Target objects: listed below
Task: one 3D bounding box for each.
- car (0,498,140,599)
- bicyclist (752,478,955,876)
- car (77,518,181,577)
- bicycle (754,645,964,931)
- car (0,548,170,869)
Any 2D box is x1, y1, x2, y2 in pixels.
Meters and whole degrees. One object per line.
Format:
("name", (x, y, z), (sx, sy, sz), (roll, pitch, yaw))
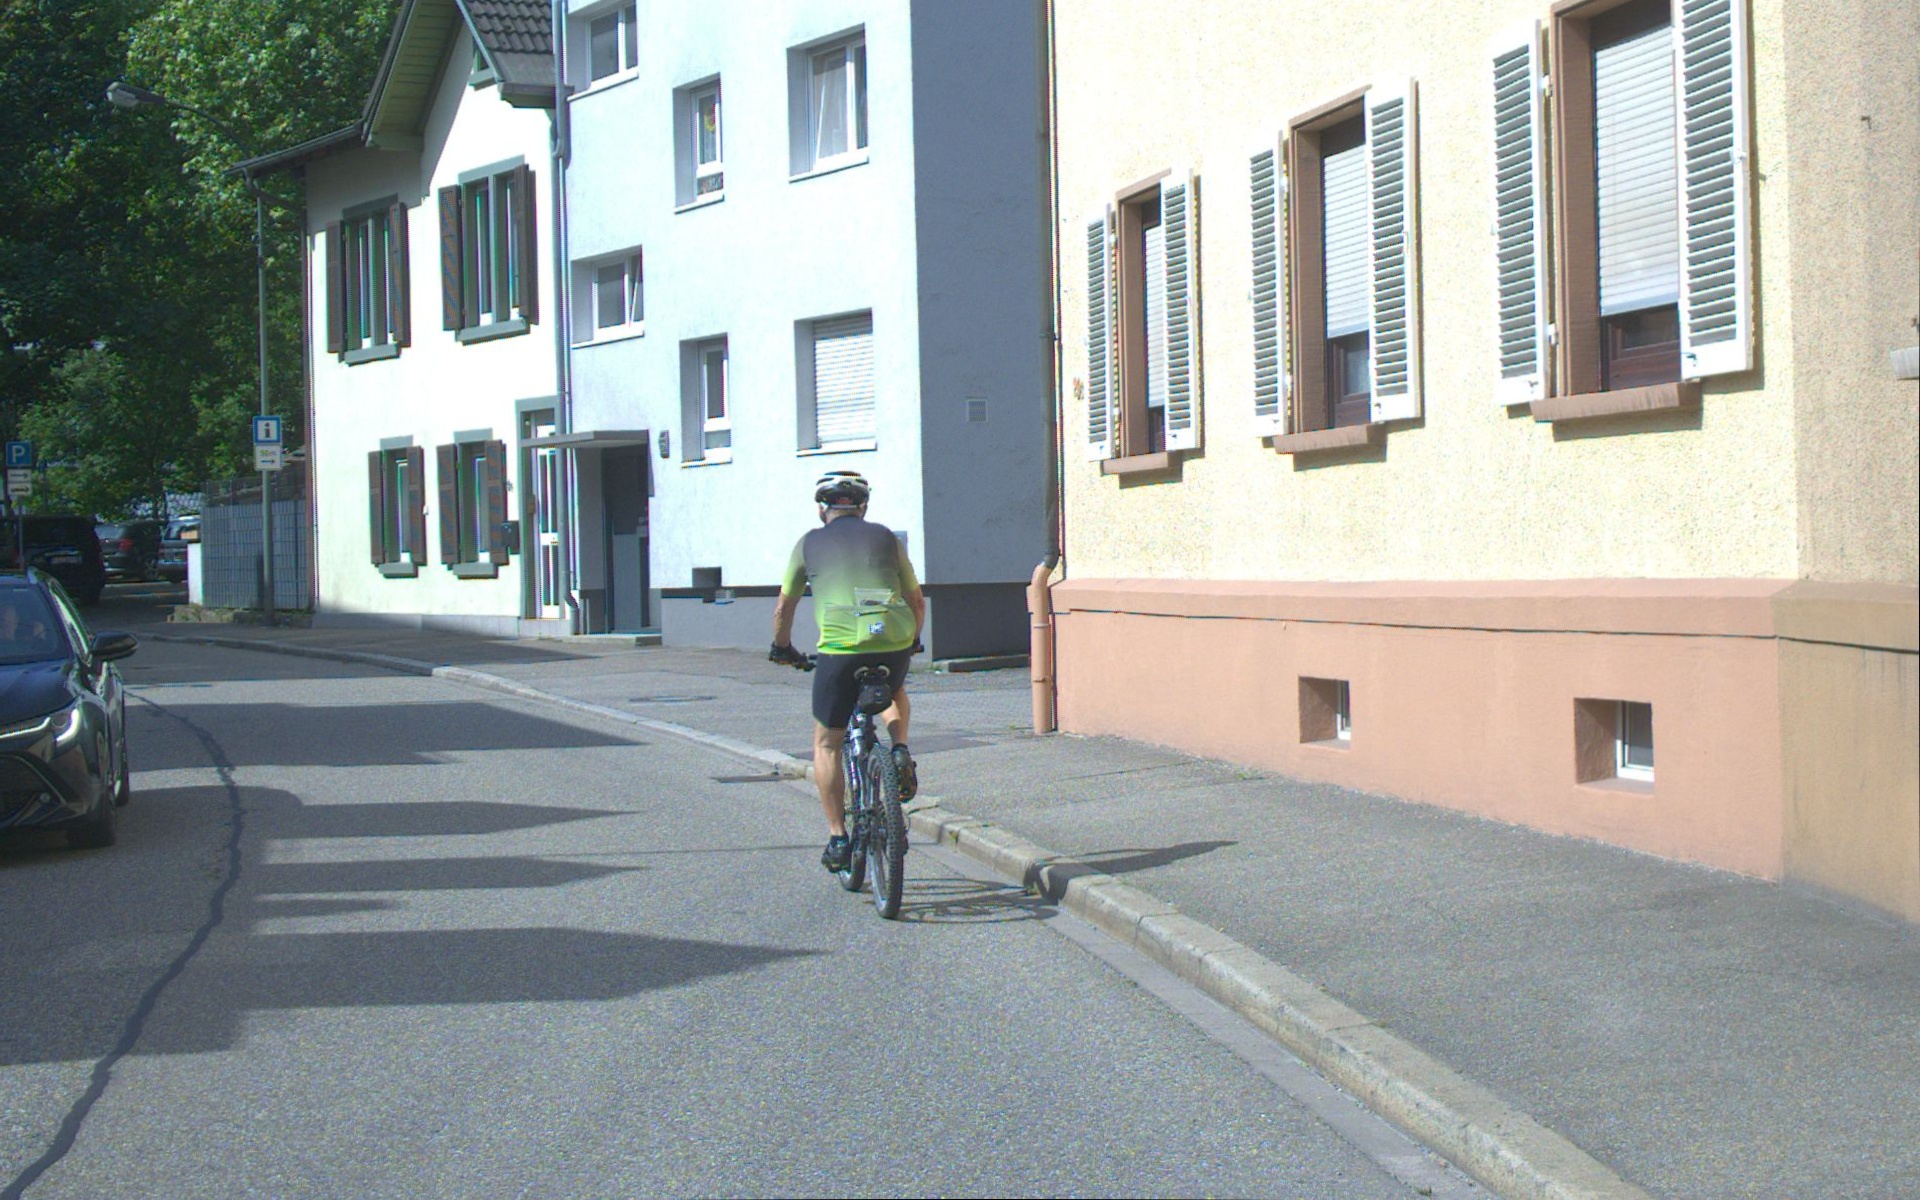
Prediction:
("car", (-17.273, -1.008, 65.227), (1.823, 1.784, 3.999), (-3, 4, -37))
("bicyclist", (-0.434, 0.294, 13.738), (0.685, 1.526, 0.716), (-2, 1, -8))
("car", (-19.011, -1.206, 78.543), (1.582, 1.253, 3.858), (-3, 2, -24))
("bicycle", (-0.427, 0.725, 13.808), (0.698, 1.032, 1.471), (0, 1, -7))
("car", (-5.272, 0.524, 18.190), (1.658, 1.444, 4.260), (-4, 2, -8))
